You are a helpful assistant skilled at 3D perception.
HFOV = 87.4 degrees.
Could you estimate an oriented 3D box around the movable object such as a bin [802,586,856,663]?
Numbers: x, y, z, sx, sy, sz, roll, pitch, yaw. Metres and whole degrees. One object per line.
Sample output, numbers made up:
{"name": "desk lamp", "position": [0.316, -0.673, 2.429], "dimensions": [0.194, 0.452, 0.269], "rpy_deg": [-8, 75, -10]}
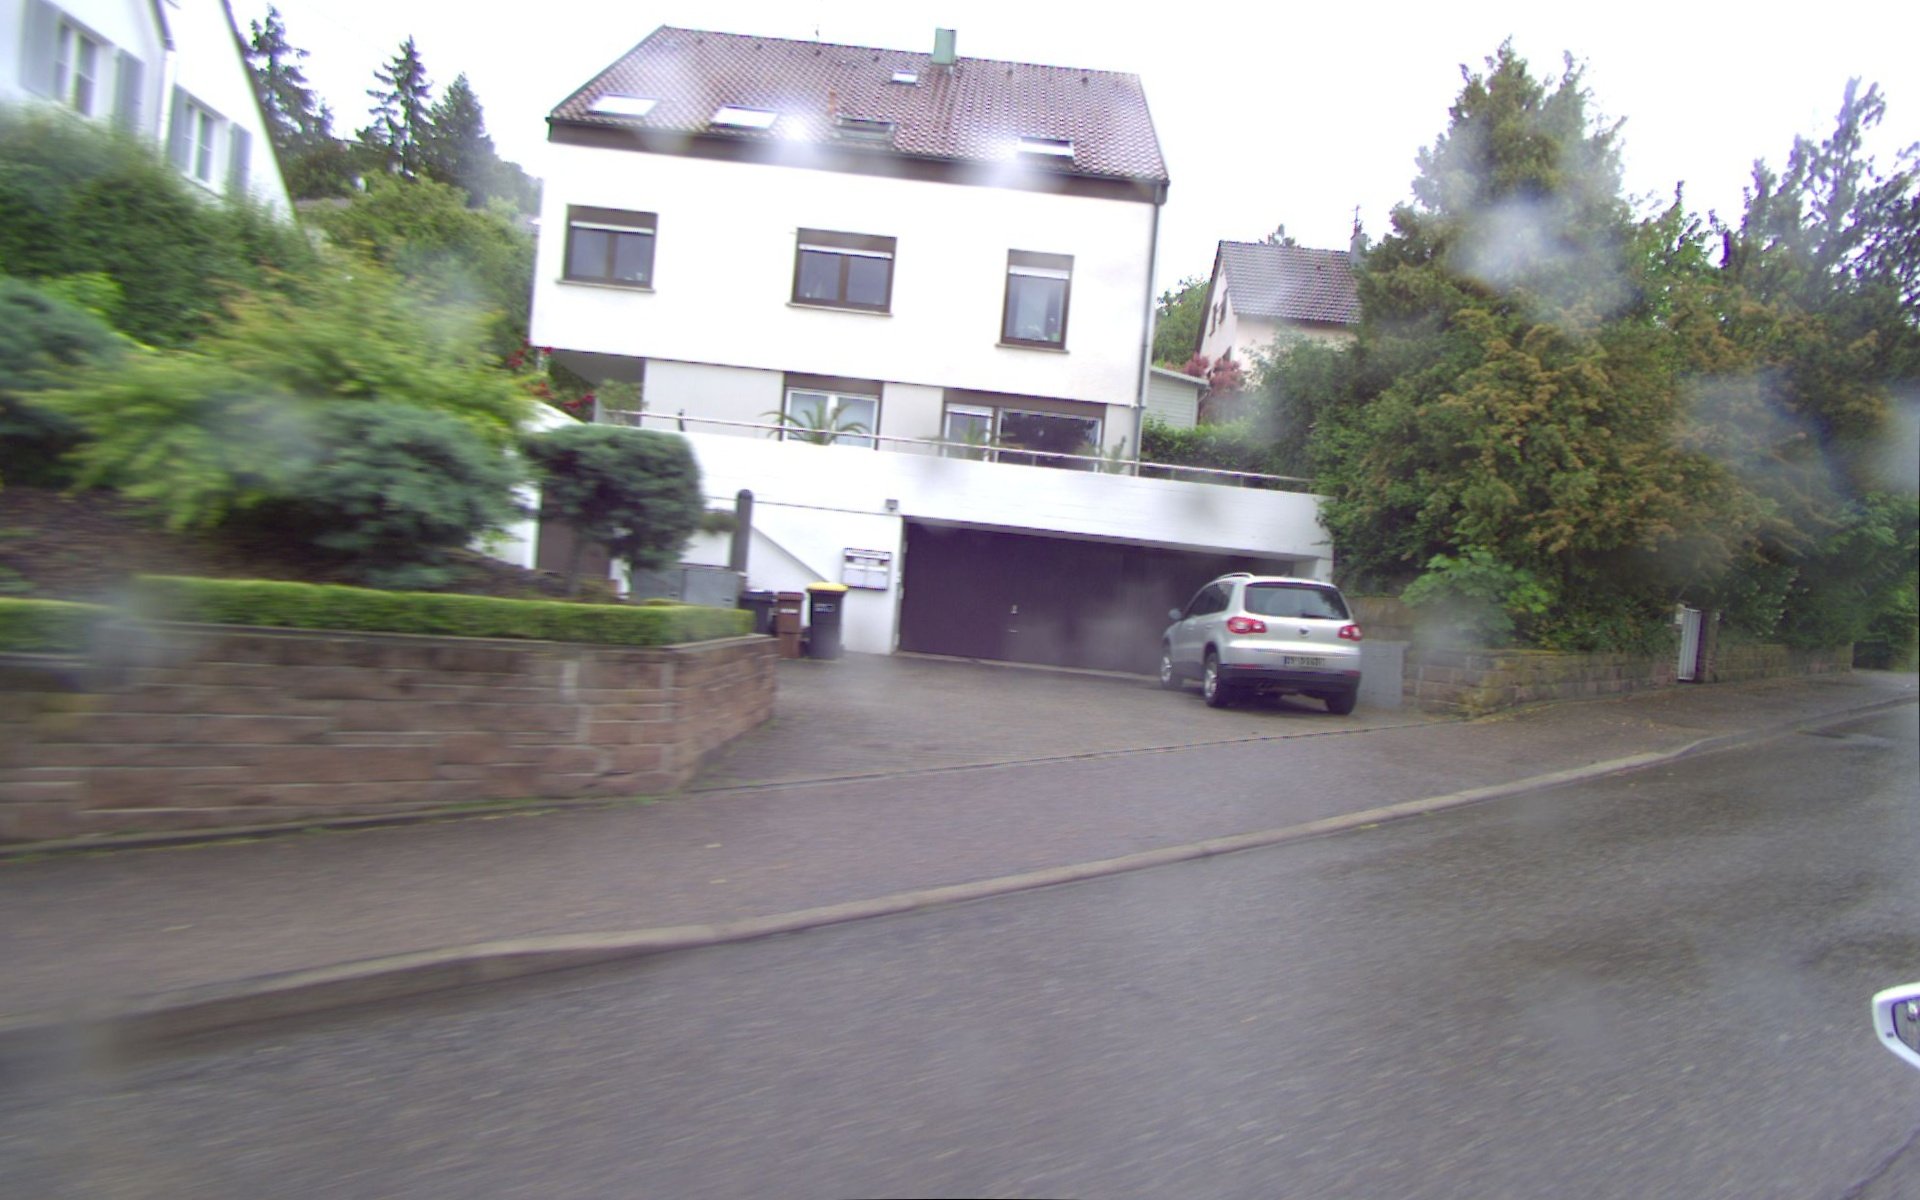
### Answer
{"name": "movable object such as a bin", "position": [-1.887, 0.336, 14.600], "dimensions": [0.687, 1.067, 0.817], "rpy_deg": [2, 1, -4]}

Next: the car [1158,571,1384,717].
{"name": "car", "position": [3.946, 0.583, 13.452], "dimensions": [1.827, 1.605, 3.947], "rpy_deg": [2, -2, 1]}

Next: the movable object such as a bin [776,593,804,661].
{"name": "movable object such as a bin", "position": [-2.425, 0.384, 14.353], "dimensions": [0.312, 0.941, 0.505], "rpy_deg": [2, 1, -3]}

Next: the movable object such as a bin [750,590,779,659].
{"name": "movable object such as a bin", "position": [-2.777, 0.341, 14.295], "dimensions": [0.312, 0.941, 0.505], "rpy_deg": [2, 1, -3]}
